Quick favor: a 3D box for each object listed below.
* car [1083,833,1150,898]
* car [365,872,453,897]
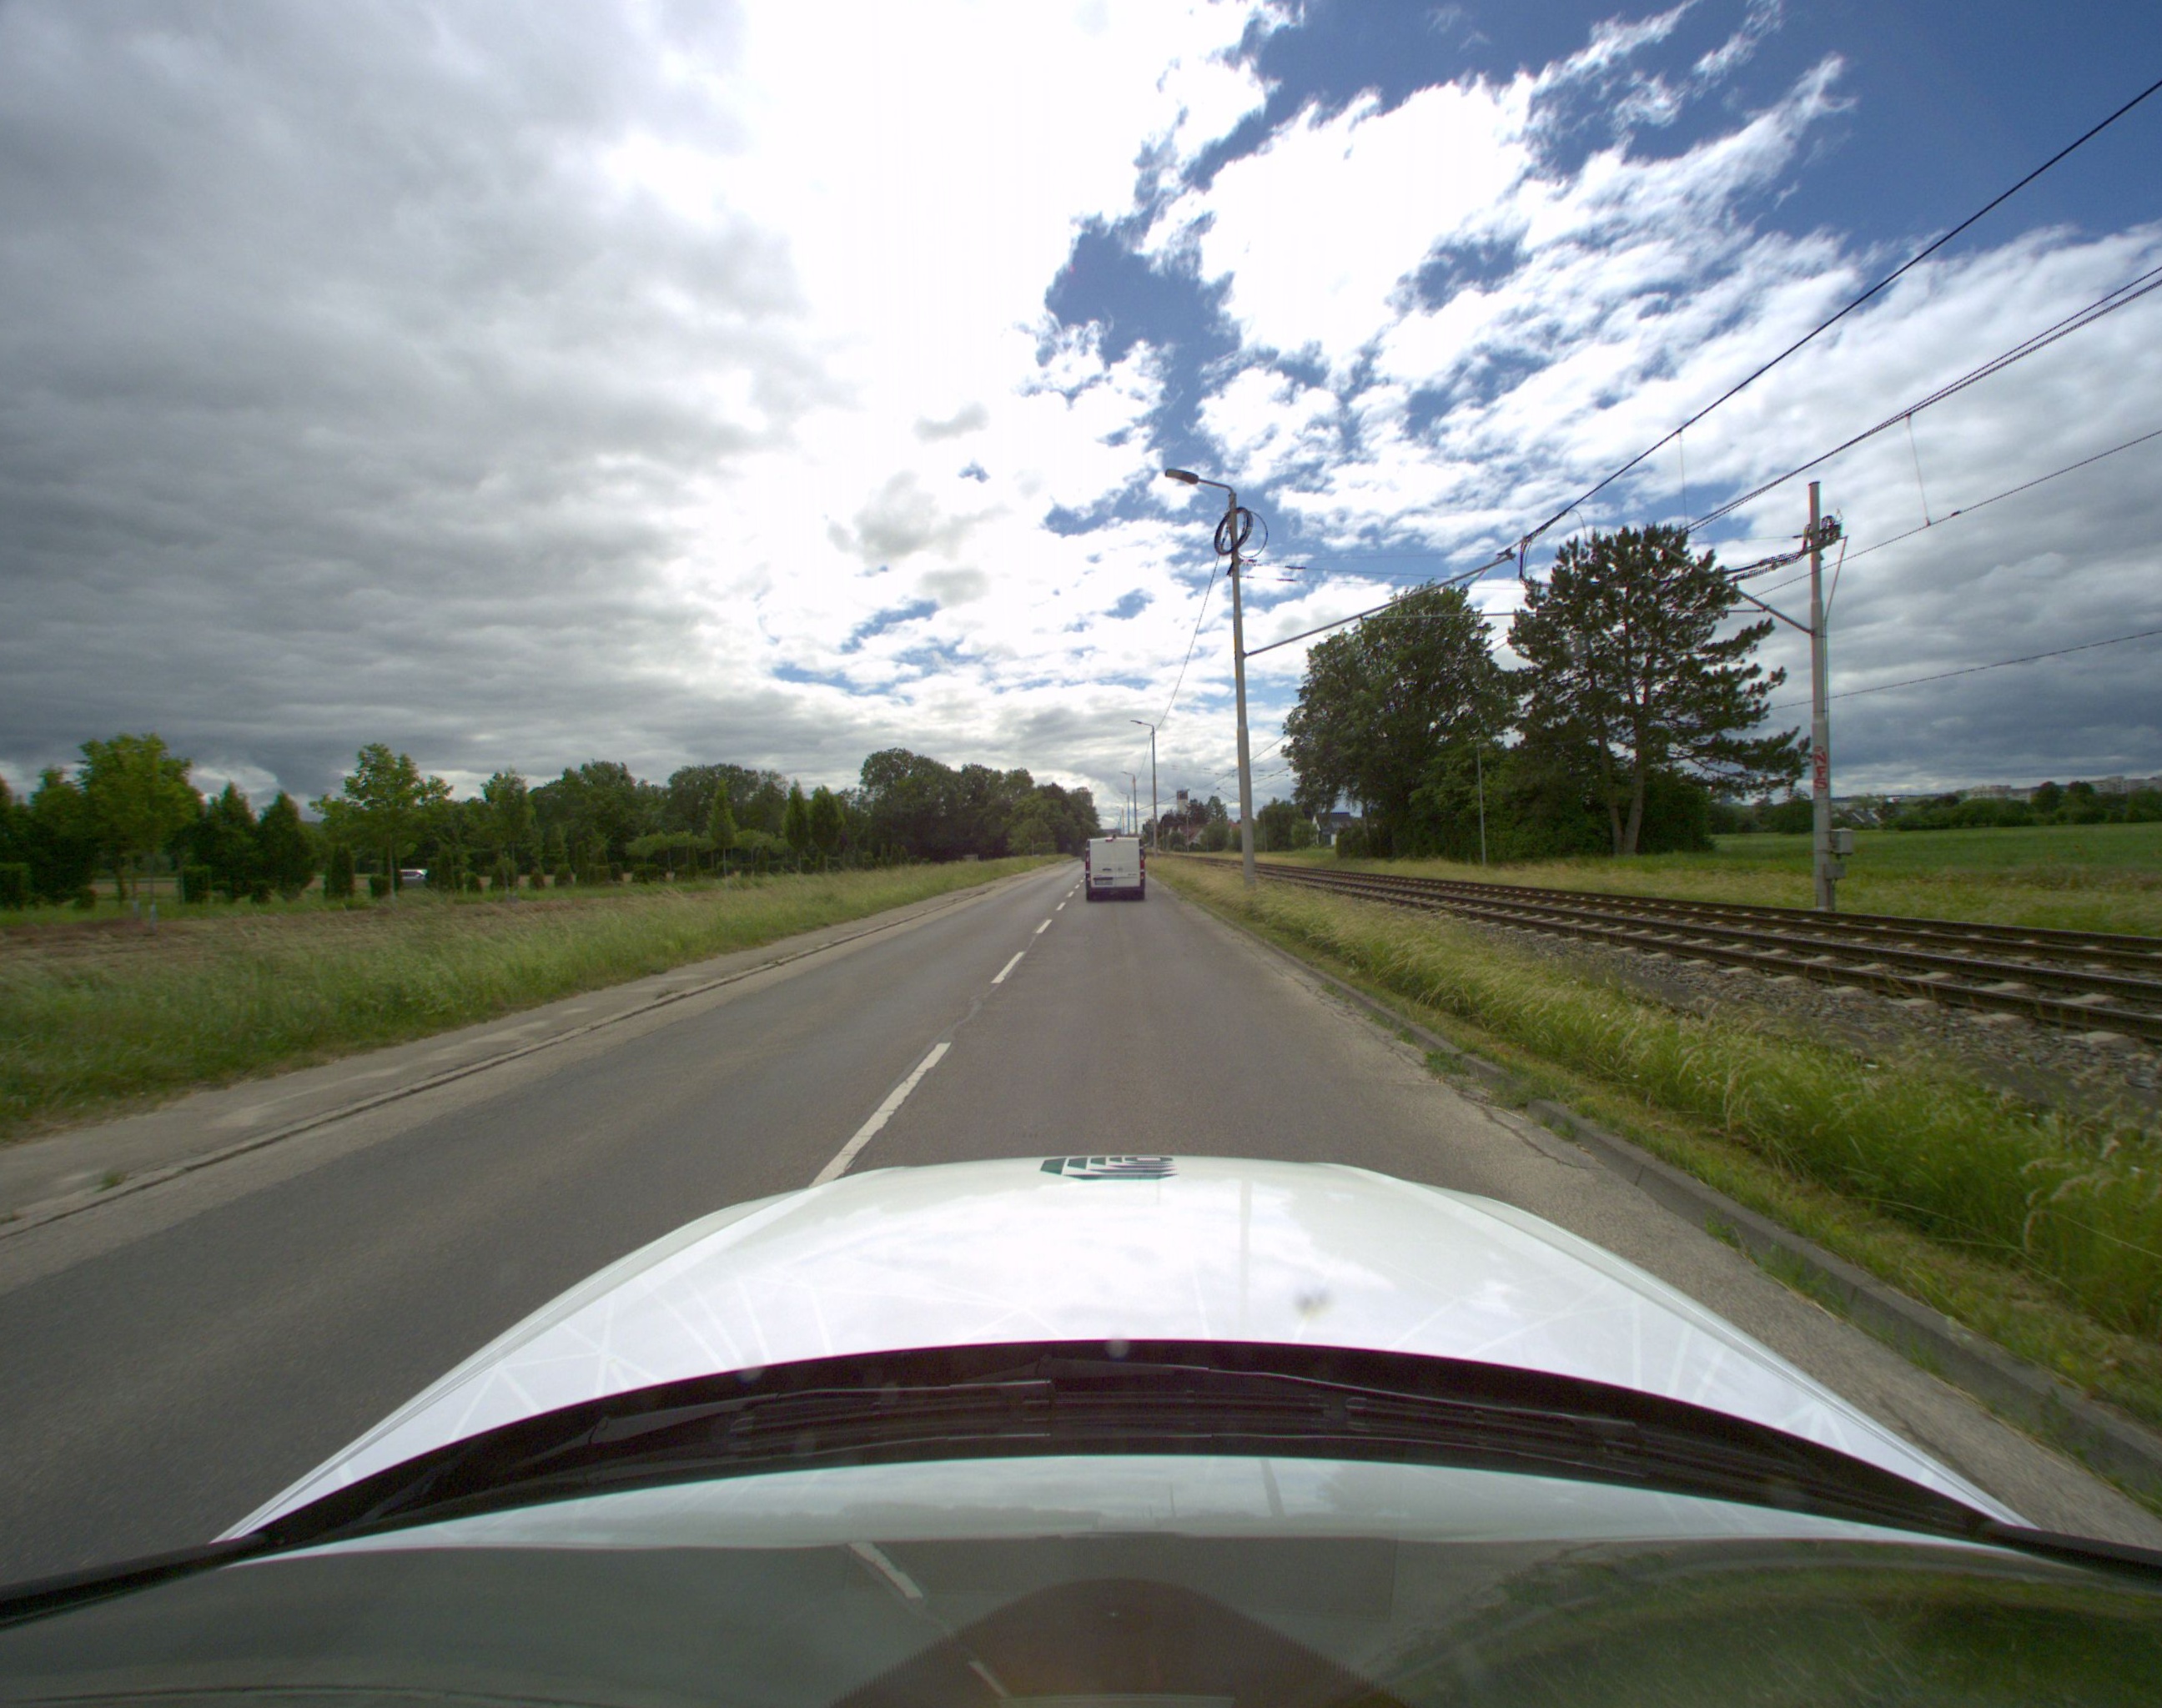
[{"bbox_3d":[1.110,0.334,26.573,1.987,1.957,4.001,-1,0,1],"label":"car"},{"bbox_3d":[-44.629,2.017,54.198,3.993,1.453,1.966,-3,0,-14],"label":"car"}]
